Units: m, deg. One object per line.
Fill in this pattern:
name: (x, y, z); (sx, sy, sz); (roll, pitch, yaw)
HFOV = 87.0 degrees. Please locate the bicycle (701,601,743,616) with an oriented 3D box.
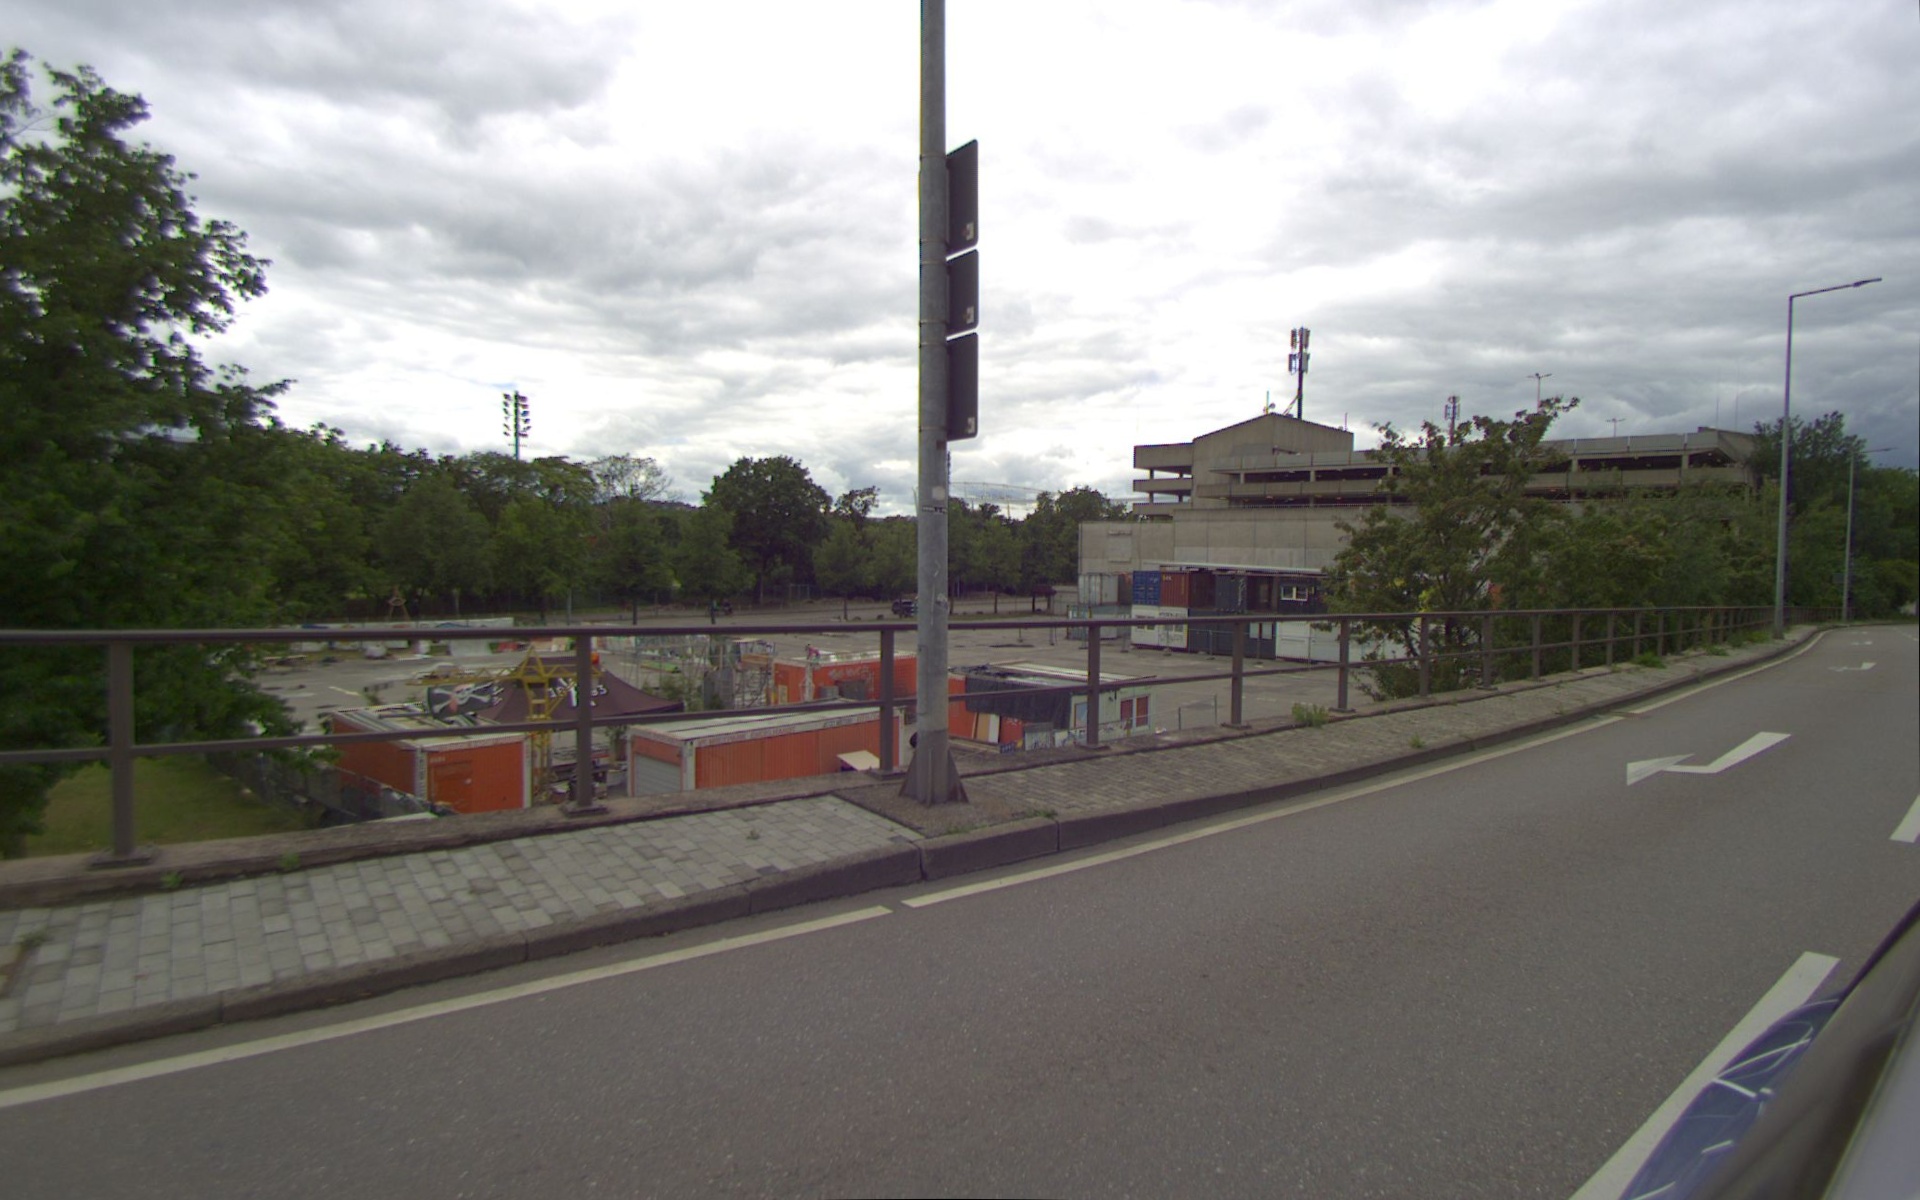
bicycle: (-24.671, 0.867, 105.003); (1.495, 1.304, 4.271); (2, 2, 38)

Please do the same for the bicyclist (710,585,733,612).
bicyclist: (-24.735, -0.165, 104.862); (1.495, 2.737, 1.847); (1, 2, 38)

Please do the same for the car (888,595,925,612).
car: (-6.232, 0.432, 118.182); (1.992, 1.839, 3.939); (-3, -1, 42)
